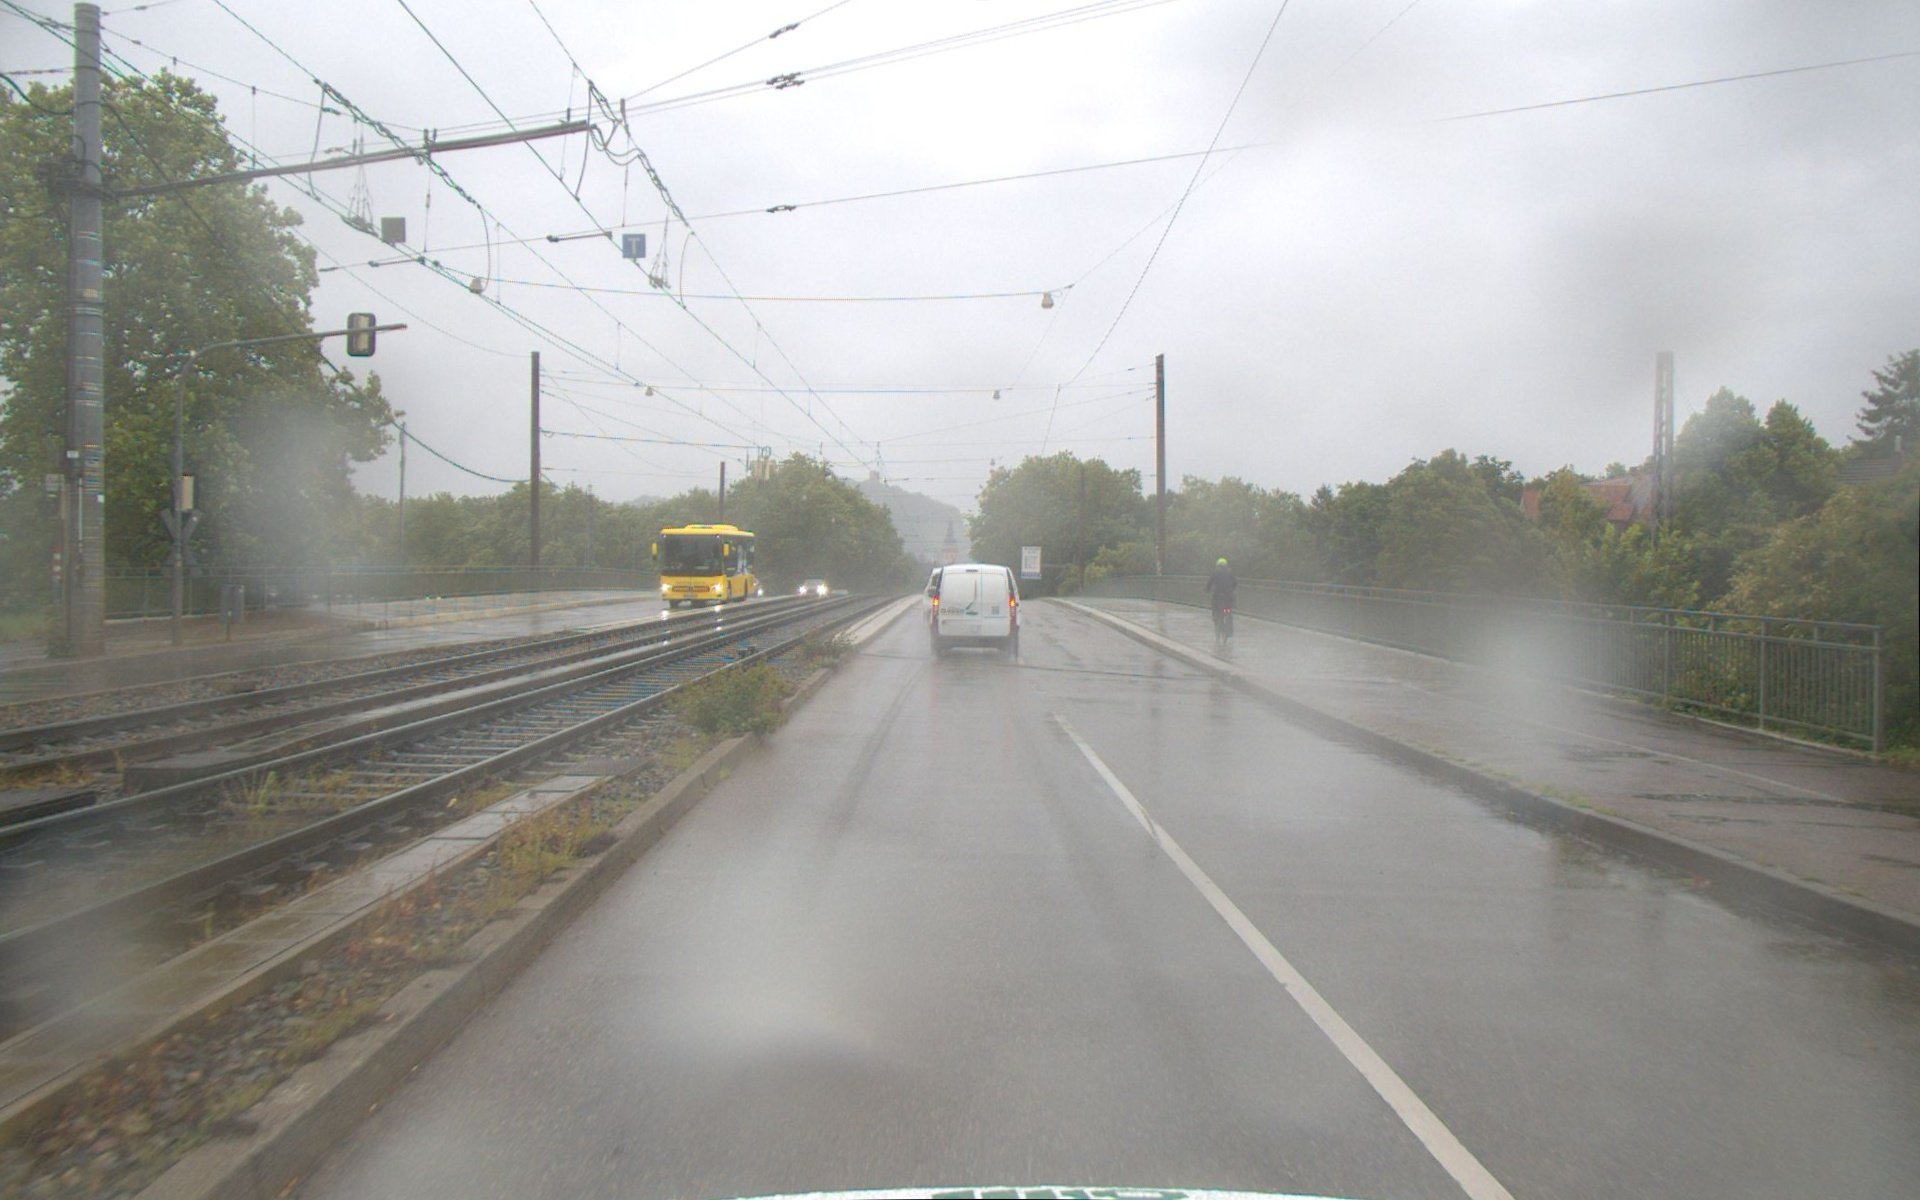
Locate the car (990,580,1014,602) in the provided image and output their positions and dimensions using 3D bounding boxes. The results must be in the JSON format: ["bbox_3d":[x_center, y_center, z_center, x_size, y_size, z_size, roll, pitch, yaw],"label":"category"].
[{"bbox_3d":[3.103,-0.656,122.074,1.422,1.525,2.980,2,0,-4],"label":"car"}]

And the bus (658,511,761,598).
[{"bbox_3d":[-10.603,-2.011,71.159,2.653,3.399,10.995,-1,2,0],"label":"bus"}]

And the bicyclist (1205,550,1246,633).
[{"bbox_3d":[5.869,-0.186,36.617,0.710,1.794,0.949,2,-1,0],"label":"bicyclist"}]

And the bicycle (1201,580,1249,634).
[{"bbox_3d":[5.847,0.143,36.601,0.708,1.148,2.168,2,0,0],"label":"bicycle"}]

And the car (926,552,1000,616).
[{"bbox_3d":[0.128,-0.442,48.837,1.952,1.747,4.001,2,0,2],"label":"car"}]

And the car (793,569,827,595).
[{"bbox_3d":[-10.863,-1.273,120.027,1.953,1.747,4.941,-1,0,0],"label":"car"}]

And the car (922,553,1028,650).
[{"bbox_3d":[0.369,0.045,33.323,1.952,1.756,4.001,2,0,2],"label":"car"}]
